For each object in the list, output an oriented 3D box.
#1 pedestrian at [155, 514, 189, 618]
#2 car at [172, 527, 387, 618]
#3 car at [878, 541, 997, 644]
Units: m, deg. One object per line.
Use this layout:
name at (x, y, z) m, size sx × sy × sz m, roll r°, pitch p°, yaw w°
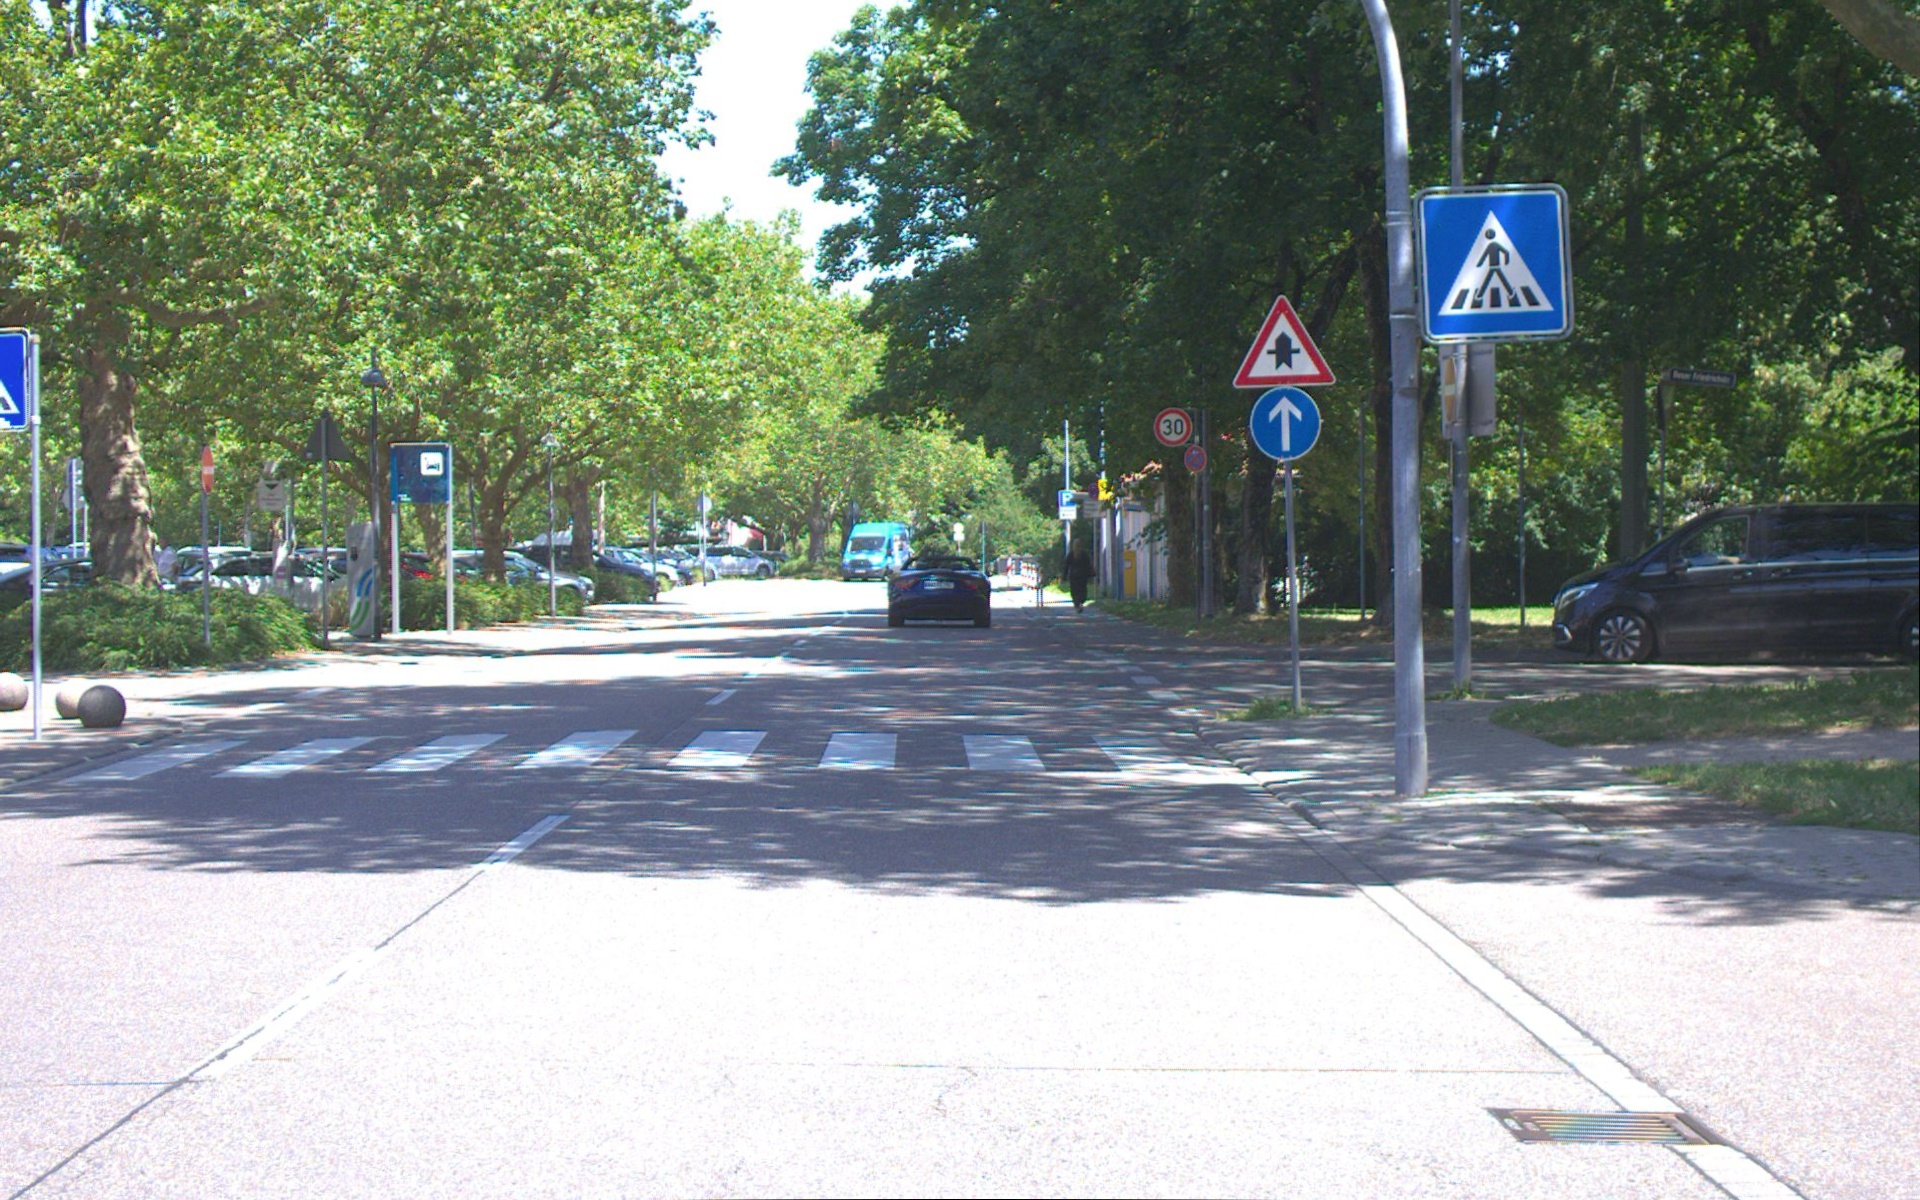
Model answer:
pedestrian at (-15.351, -0.655, 66.991) m, size 0.624 × 2.007 × 0.570 m, roll 0°, pitch -1°, yaw -14°
car at (-13.629, -0.546, 68.810) m, size 3.986 × 1.775 × 2.001 m, roll 0°, pitch 0°, yaw -18°
car at (-0.419, -0.161, 64.001) m, size 2.125 × 1.842 × 4.048 m, roll 0°, pitch 1°, yaw 0°
